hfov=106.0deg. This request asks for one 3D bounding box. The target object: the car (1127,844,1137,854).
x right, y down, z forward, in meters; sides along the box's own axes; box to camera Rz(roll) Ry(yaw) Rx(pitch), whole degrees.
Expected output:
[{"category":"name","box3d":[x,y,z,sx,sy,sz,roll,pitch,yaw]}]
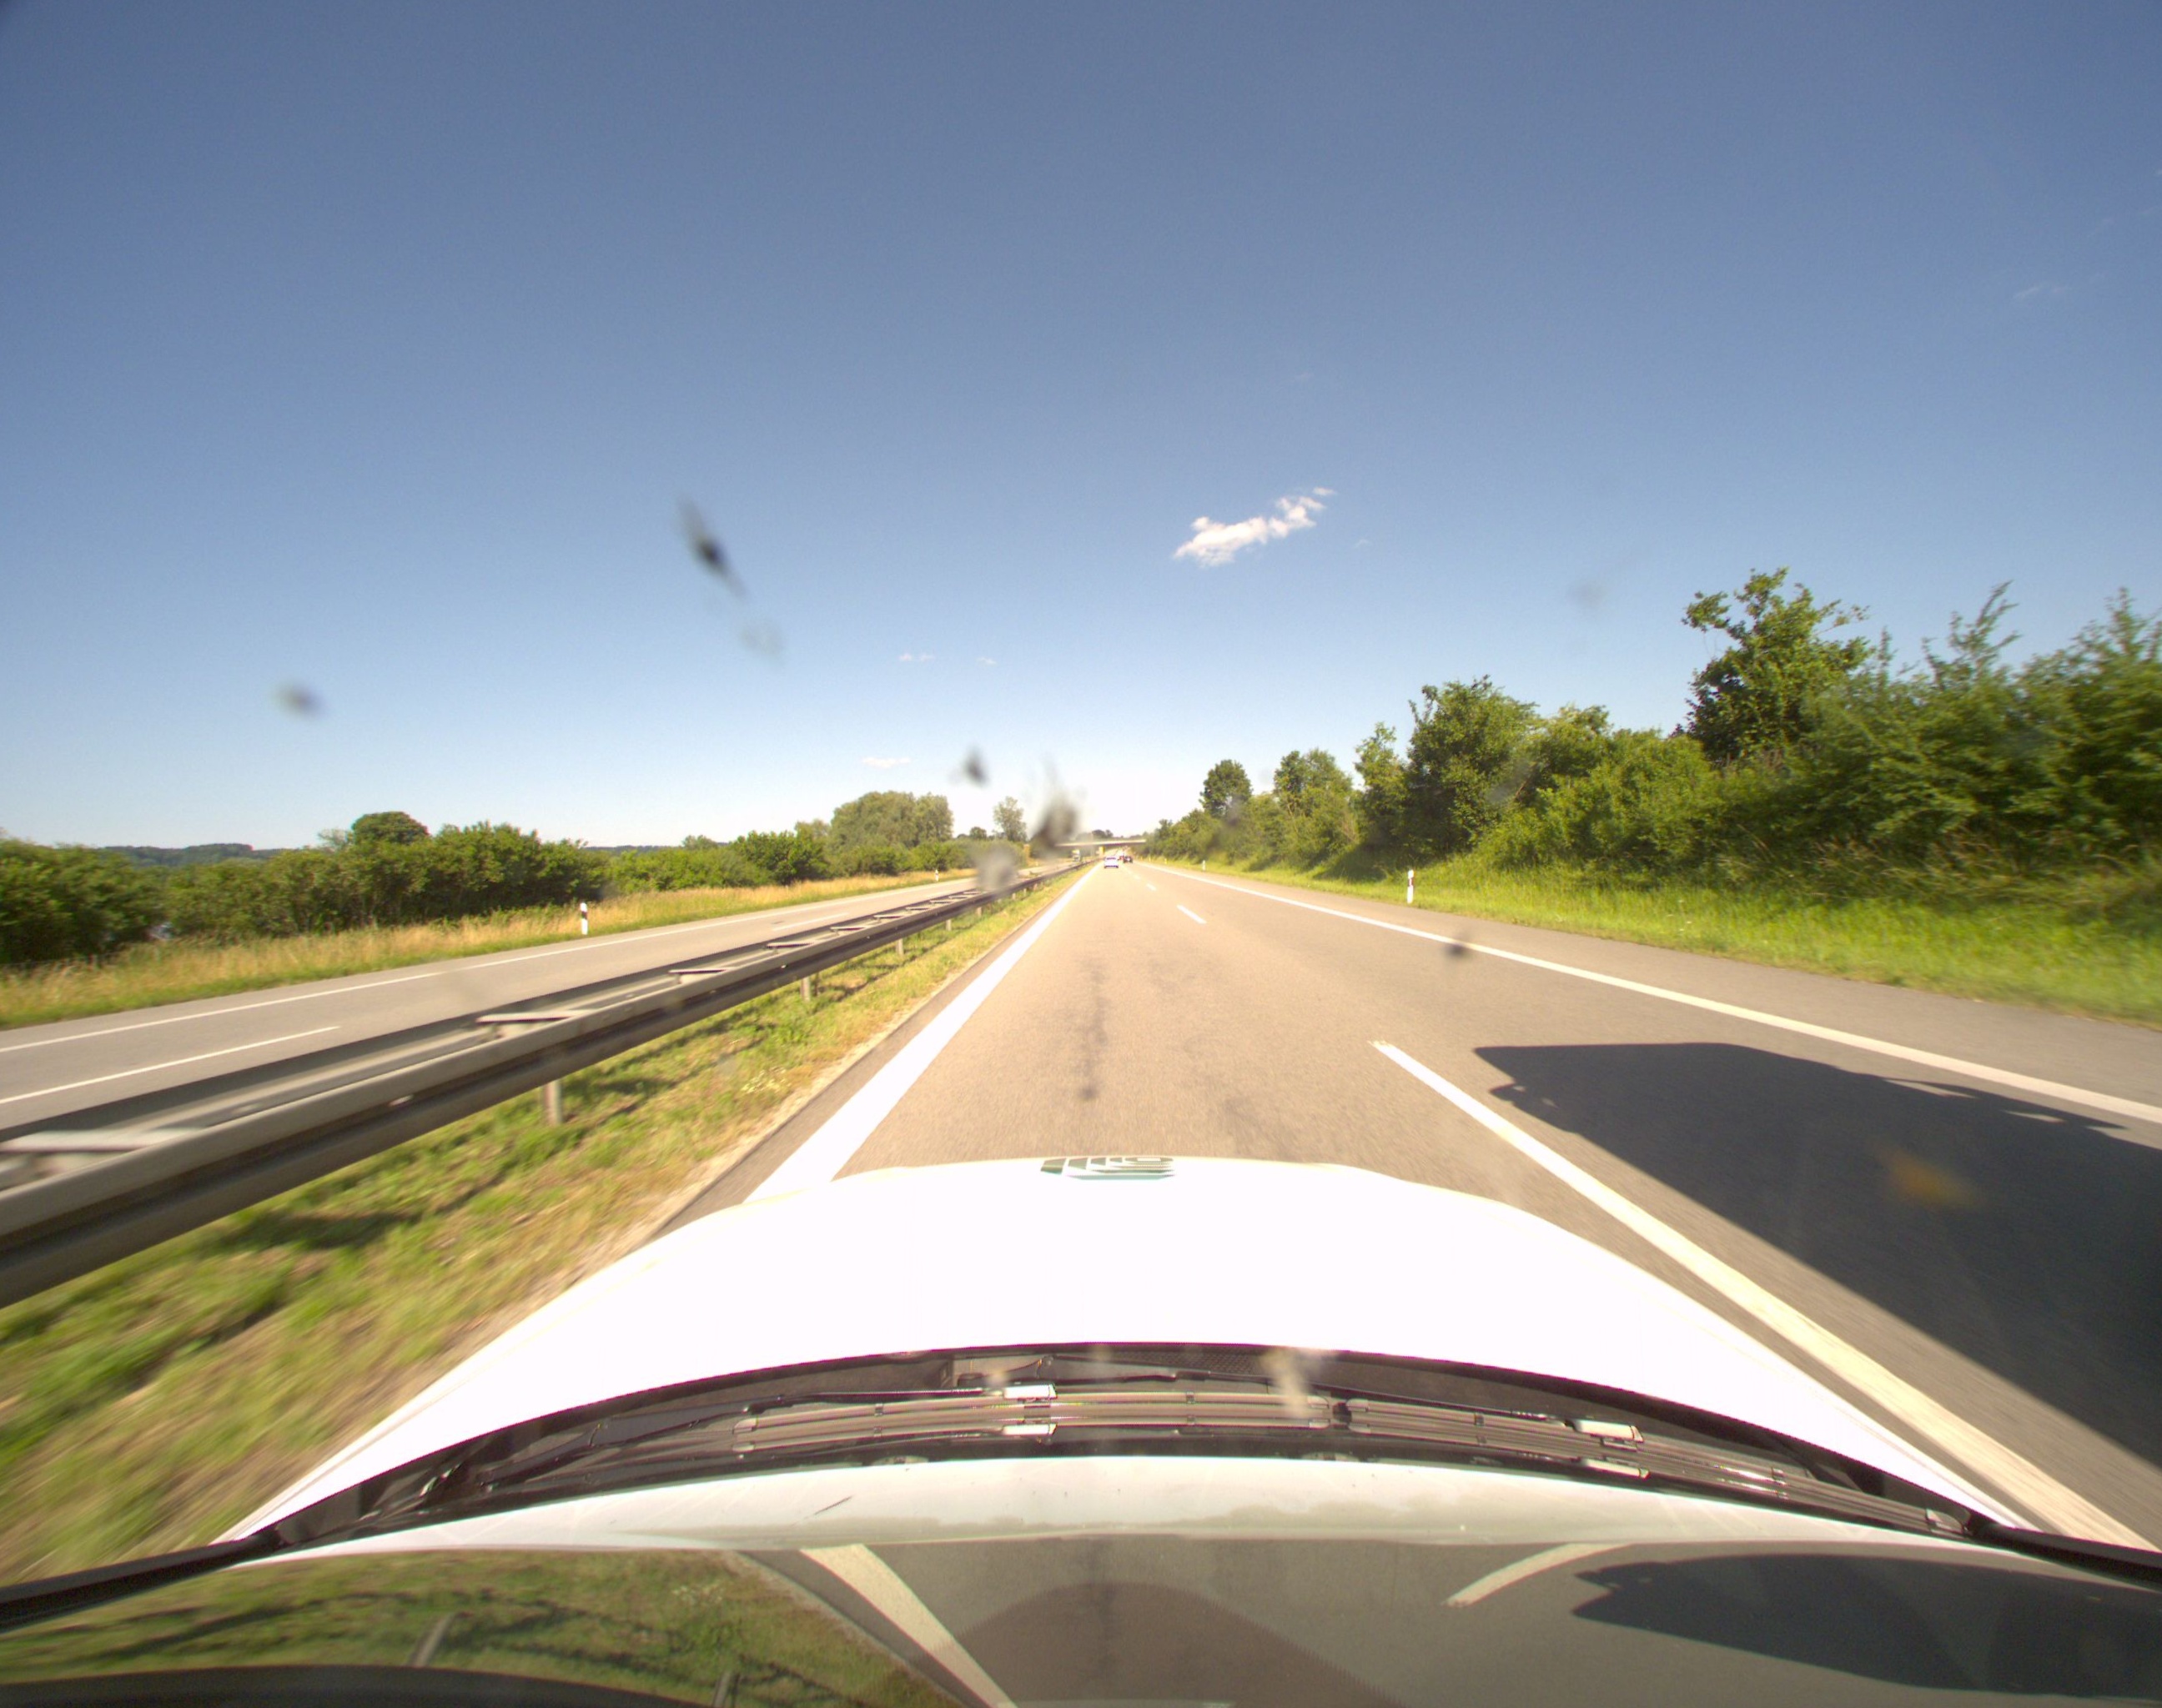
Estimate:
[{"category":"car","box3d":[10.741,-0.985,172.399,1.986,2.014,4.001,0,0,1]}]

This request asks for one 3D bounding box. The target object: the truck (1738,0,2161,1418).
[{"category":"truck","box3d":[4.236,-0.680,0.101,3.158,4.114,6.388,0,0,0]}]

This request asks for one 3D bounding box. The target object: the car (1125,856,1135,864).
[{"category":"car","box3d":[9.676,1.142,162.080,1.836,1.520,4.002,0,0,2]}]

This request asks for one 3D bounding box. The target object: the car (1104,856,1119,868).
[{"category":"car","box3d":[3.781,1.004,100.558,1.836,1.415,4.002,0,0,2]}]
